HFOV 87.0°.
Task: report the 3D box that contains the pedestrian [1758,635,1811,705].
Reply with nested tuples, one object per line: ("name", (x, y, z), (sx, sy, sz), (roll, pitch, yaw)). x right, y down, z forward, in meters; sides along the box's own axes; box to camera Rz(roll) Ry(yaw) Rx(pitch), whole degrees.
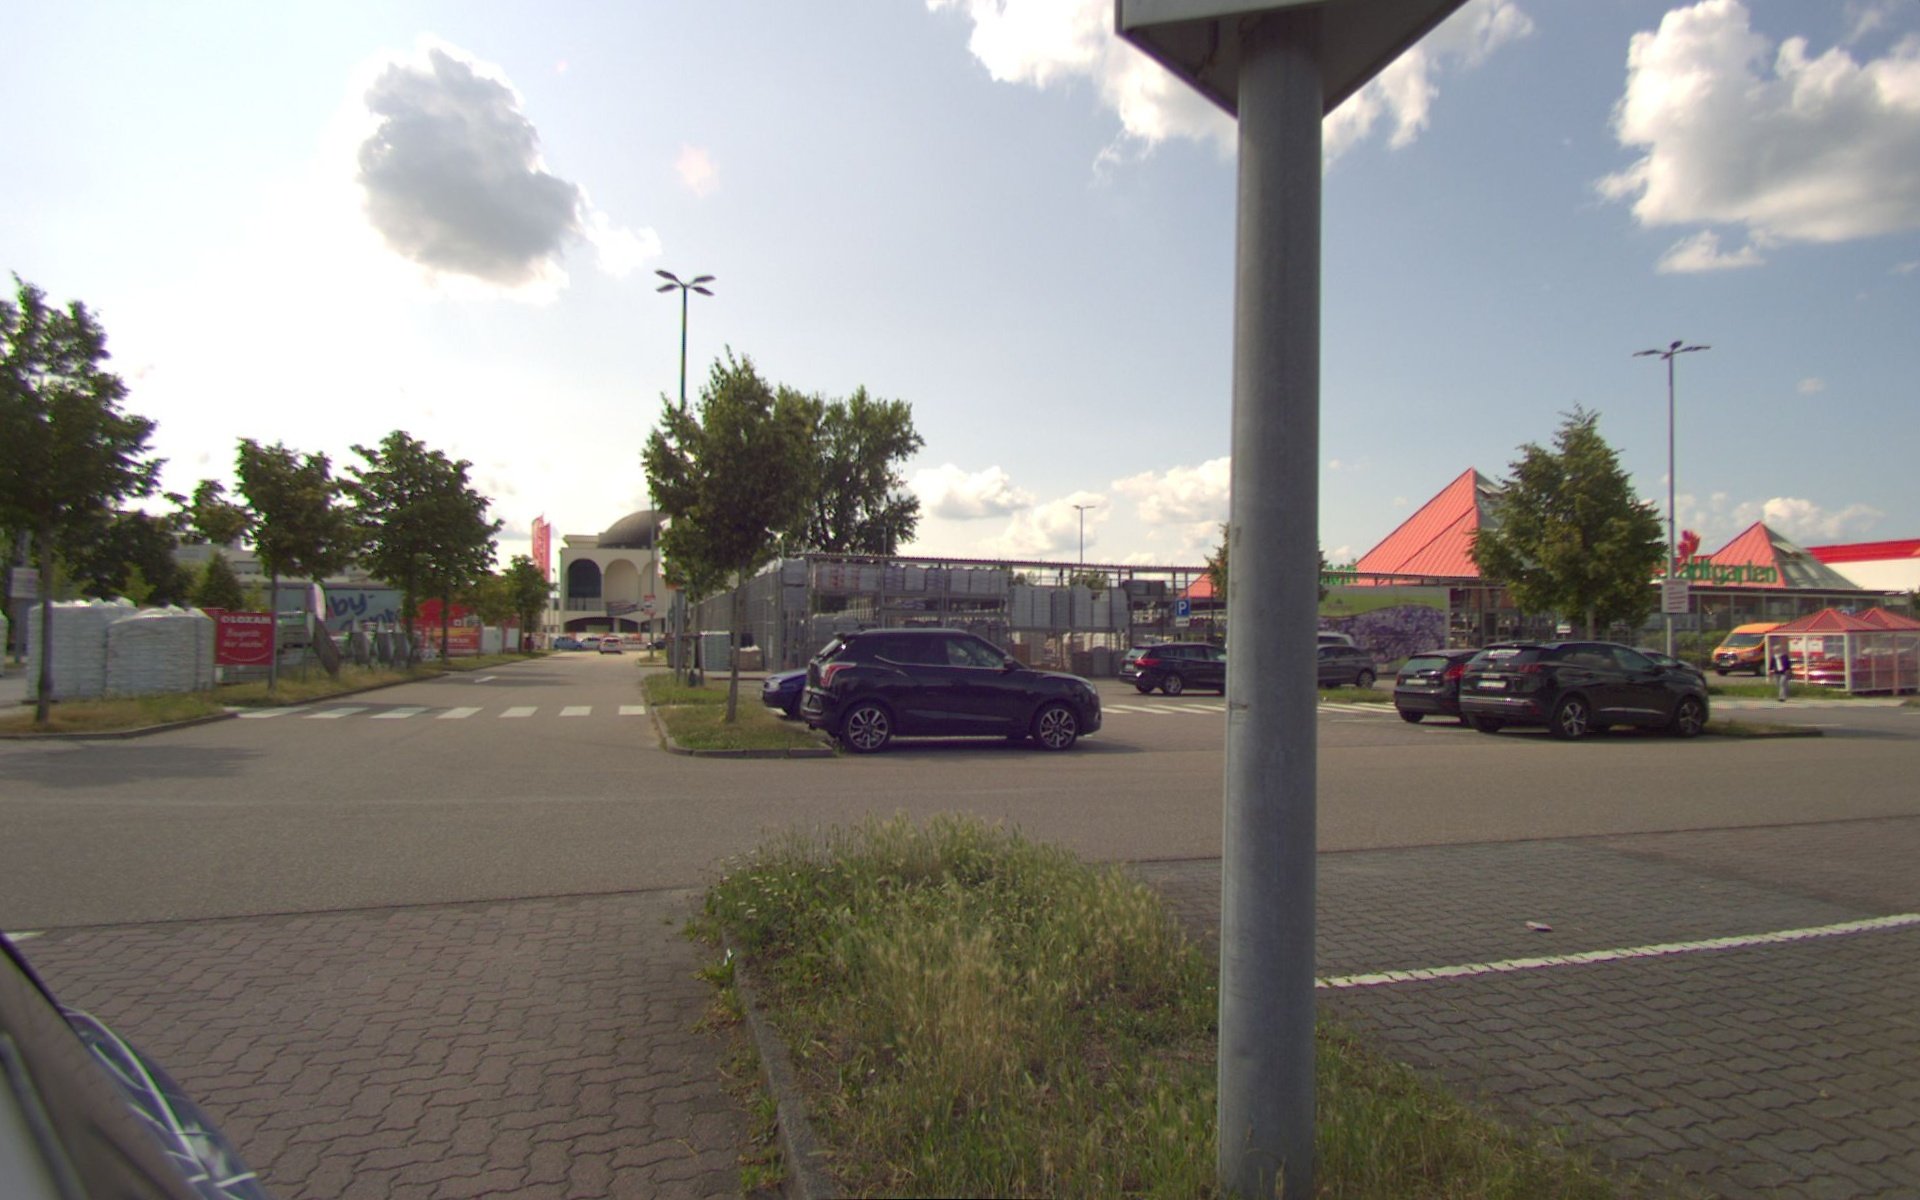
("pedestrian", (24.460, 2.060, 30.022), (0.899, 2.029, 0.820), (1, -3, -20))

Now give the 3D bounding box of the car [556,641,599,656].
("car", (-40.617, 5.180, 107.624), (4.122, 1.521, 1.797), (1, -3, -17))

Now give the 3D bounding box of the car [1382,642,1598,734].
("car", (10.259, 1.647, 19.618), (3.642, 1.637, 1.789), (1, -3, -23))

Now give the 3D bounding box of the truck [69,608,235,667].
("truck", (-36.360, 1.743, 45.741), (5.351, 2.534, 2.123), (2, -3, -20))

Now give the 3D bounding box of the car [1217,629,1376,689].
("car", (11.899, 2.075, 35.817), (5.098, 2.029, 2.006), (1, -3, -18))

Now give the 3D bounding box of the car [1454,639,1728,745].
("car", (10.635, 1.492, 17.111), (4.014, 1.637, 1.789), (1, -3, -20))

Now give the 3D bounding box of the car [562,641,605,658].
("car", (-39.007, 5.123, 104.874), (3.932, 1.636, 1.784), (2, 0, -15))

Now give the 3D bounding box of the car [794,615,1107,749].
("car", (-0.169, 1.071, 13.724), (3.896, 1.637, 1.741), (1, -3, -16))

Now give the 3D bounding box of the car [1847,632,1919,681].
("car", (43.001, 2.576, 45.918), (4.725, 2.029, 2.006), (2, 0, -18))

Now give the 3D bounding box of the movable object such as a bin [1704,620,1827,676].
("movable object such as a bin", (37.323, 2.228, 46.887), (5.244, 2.513, 2.137), (2, -3, -23))

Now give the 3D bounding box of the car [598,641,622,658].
("car", (-30.847, 4.319, 89.213), (1.779, 1.476, 4.341), (1, -3, -16))

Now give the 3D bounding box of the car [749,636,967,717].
("car", (-1.889, 1.371, 18.536), (3.698, 1.378, 1.626), (1, -3, -18))

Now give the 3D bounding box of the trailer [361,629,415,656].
("trailer", (-54.750, 4.104, 96.971), (4.204, 2.437, 1.774), (2, 0, -18))

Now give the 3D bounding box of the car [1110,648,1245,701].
("car", (6.199, 2.101, 28.891), (3.297, 1.415, 1.817), (1, -3, -21))

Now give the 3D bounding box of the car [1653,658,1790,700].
("car", (25.029, 2.608, 33.340), (3.226, 1.229, 1.546), (2, -5, 3))

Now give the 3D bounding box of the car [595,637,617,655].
("car", (-33.459, 4.388, 95.586), (1.888, 1.630, 4.387), (2, -3, -19))
